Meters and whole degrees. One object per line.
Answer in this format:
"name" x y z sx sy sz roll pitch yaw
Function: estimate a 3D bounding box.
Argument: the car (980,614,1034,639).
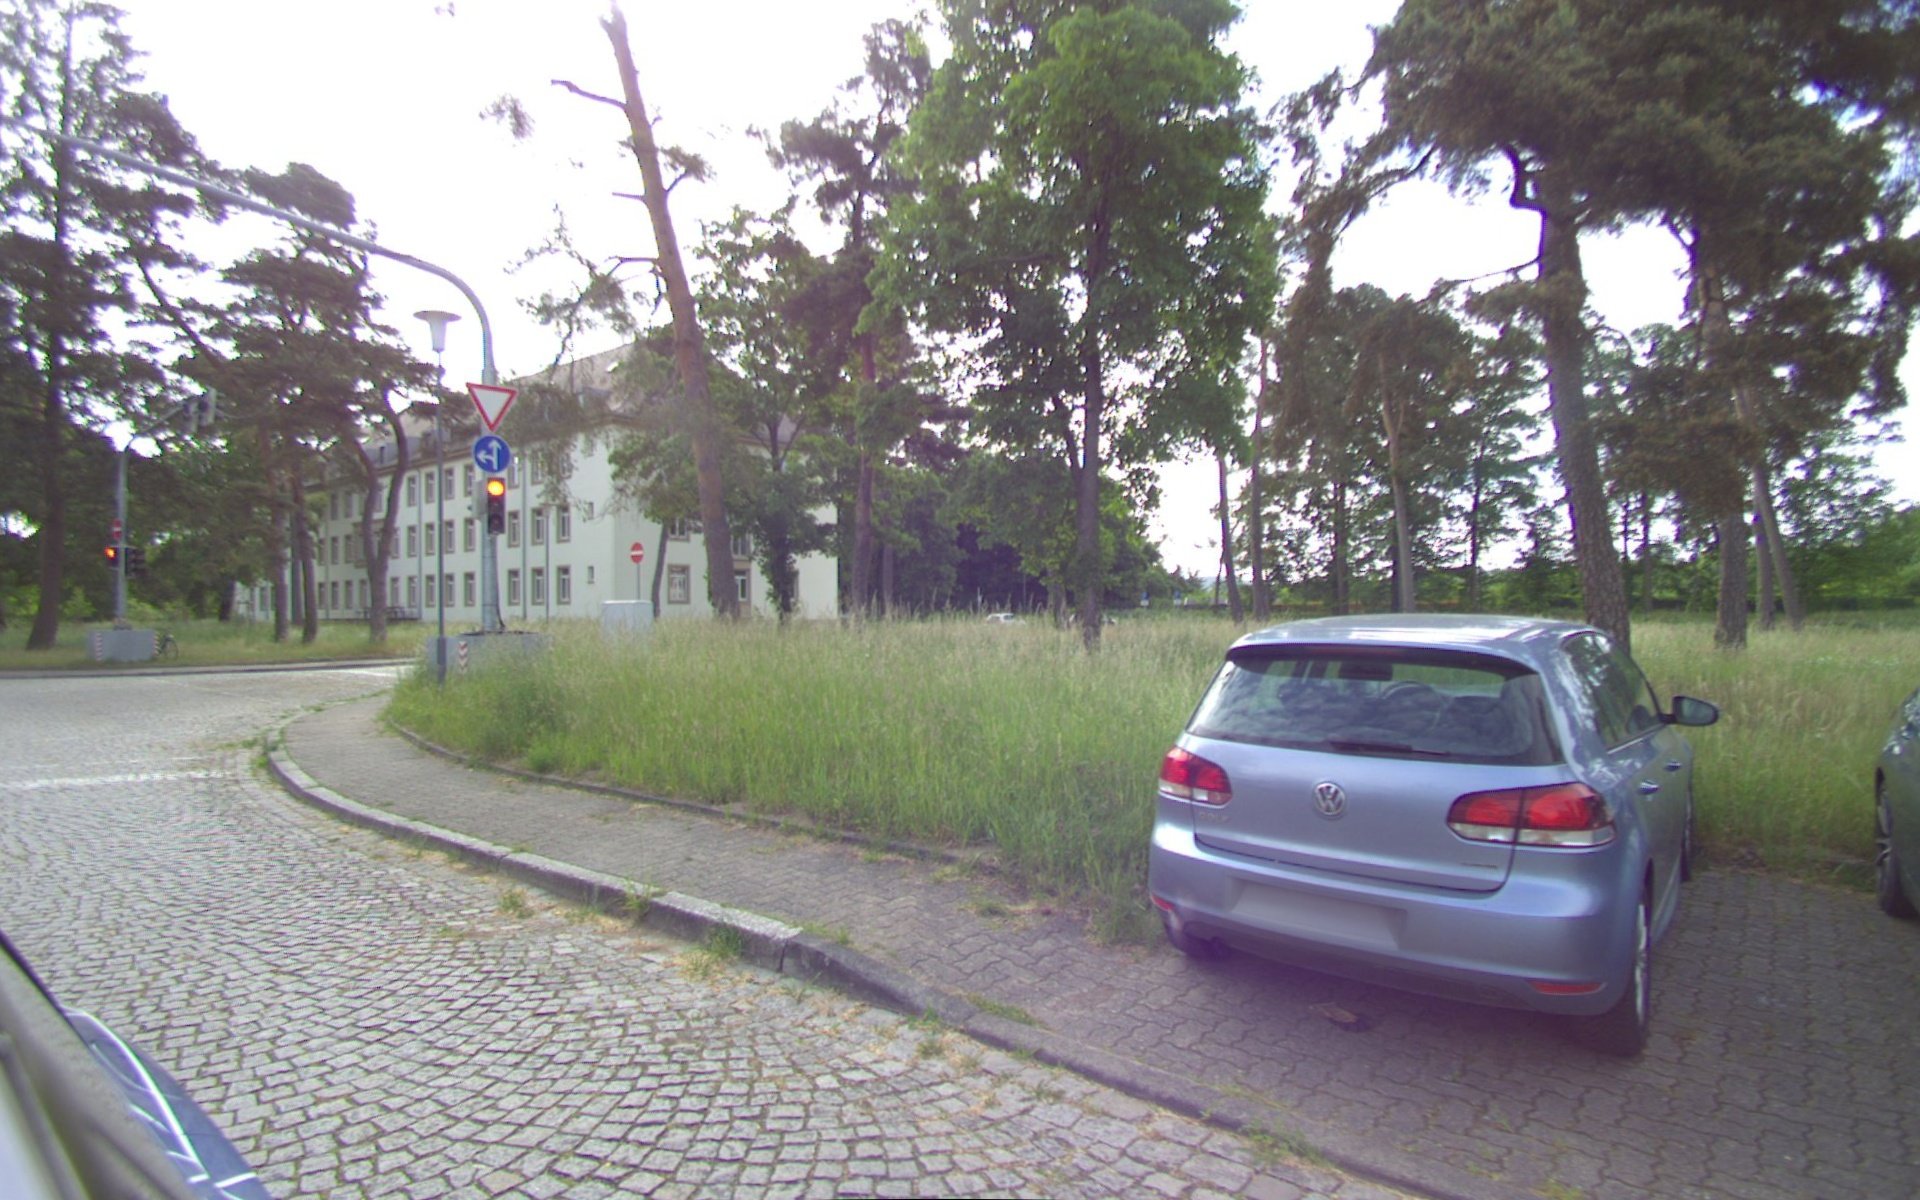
"car" 3.371 1.861 72.486 1.717 1.622 4.000 1 0 43

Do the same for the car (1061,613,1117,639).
"car" 8.606 1.721 67.201 1.716 1.622 4.002 1 0 41

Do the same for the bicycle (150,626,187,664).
"bicycle" -23.731 1.329 30.328 1.414 1.082 0.492 -1 2 37

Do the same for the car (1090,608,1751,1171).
"car" 2.582 0.793 4.947 1.826 1.481 4.284 0 0 41

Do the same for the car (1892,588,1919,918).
"car" 4.377 0.714 2.996 1.867 1.548 4.460 0 0 36
